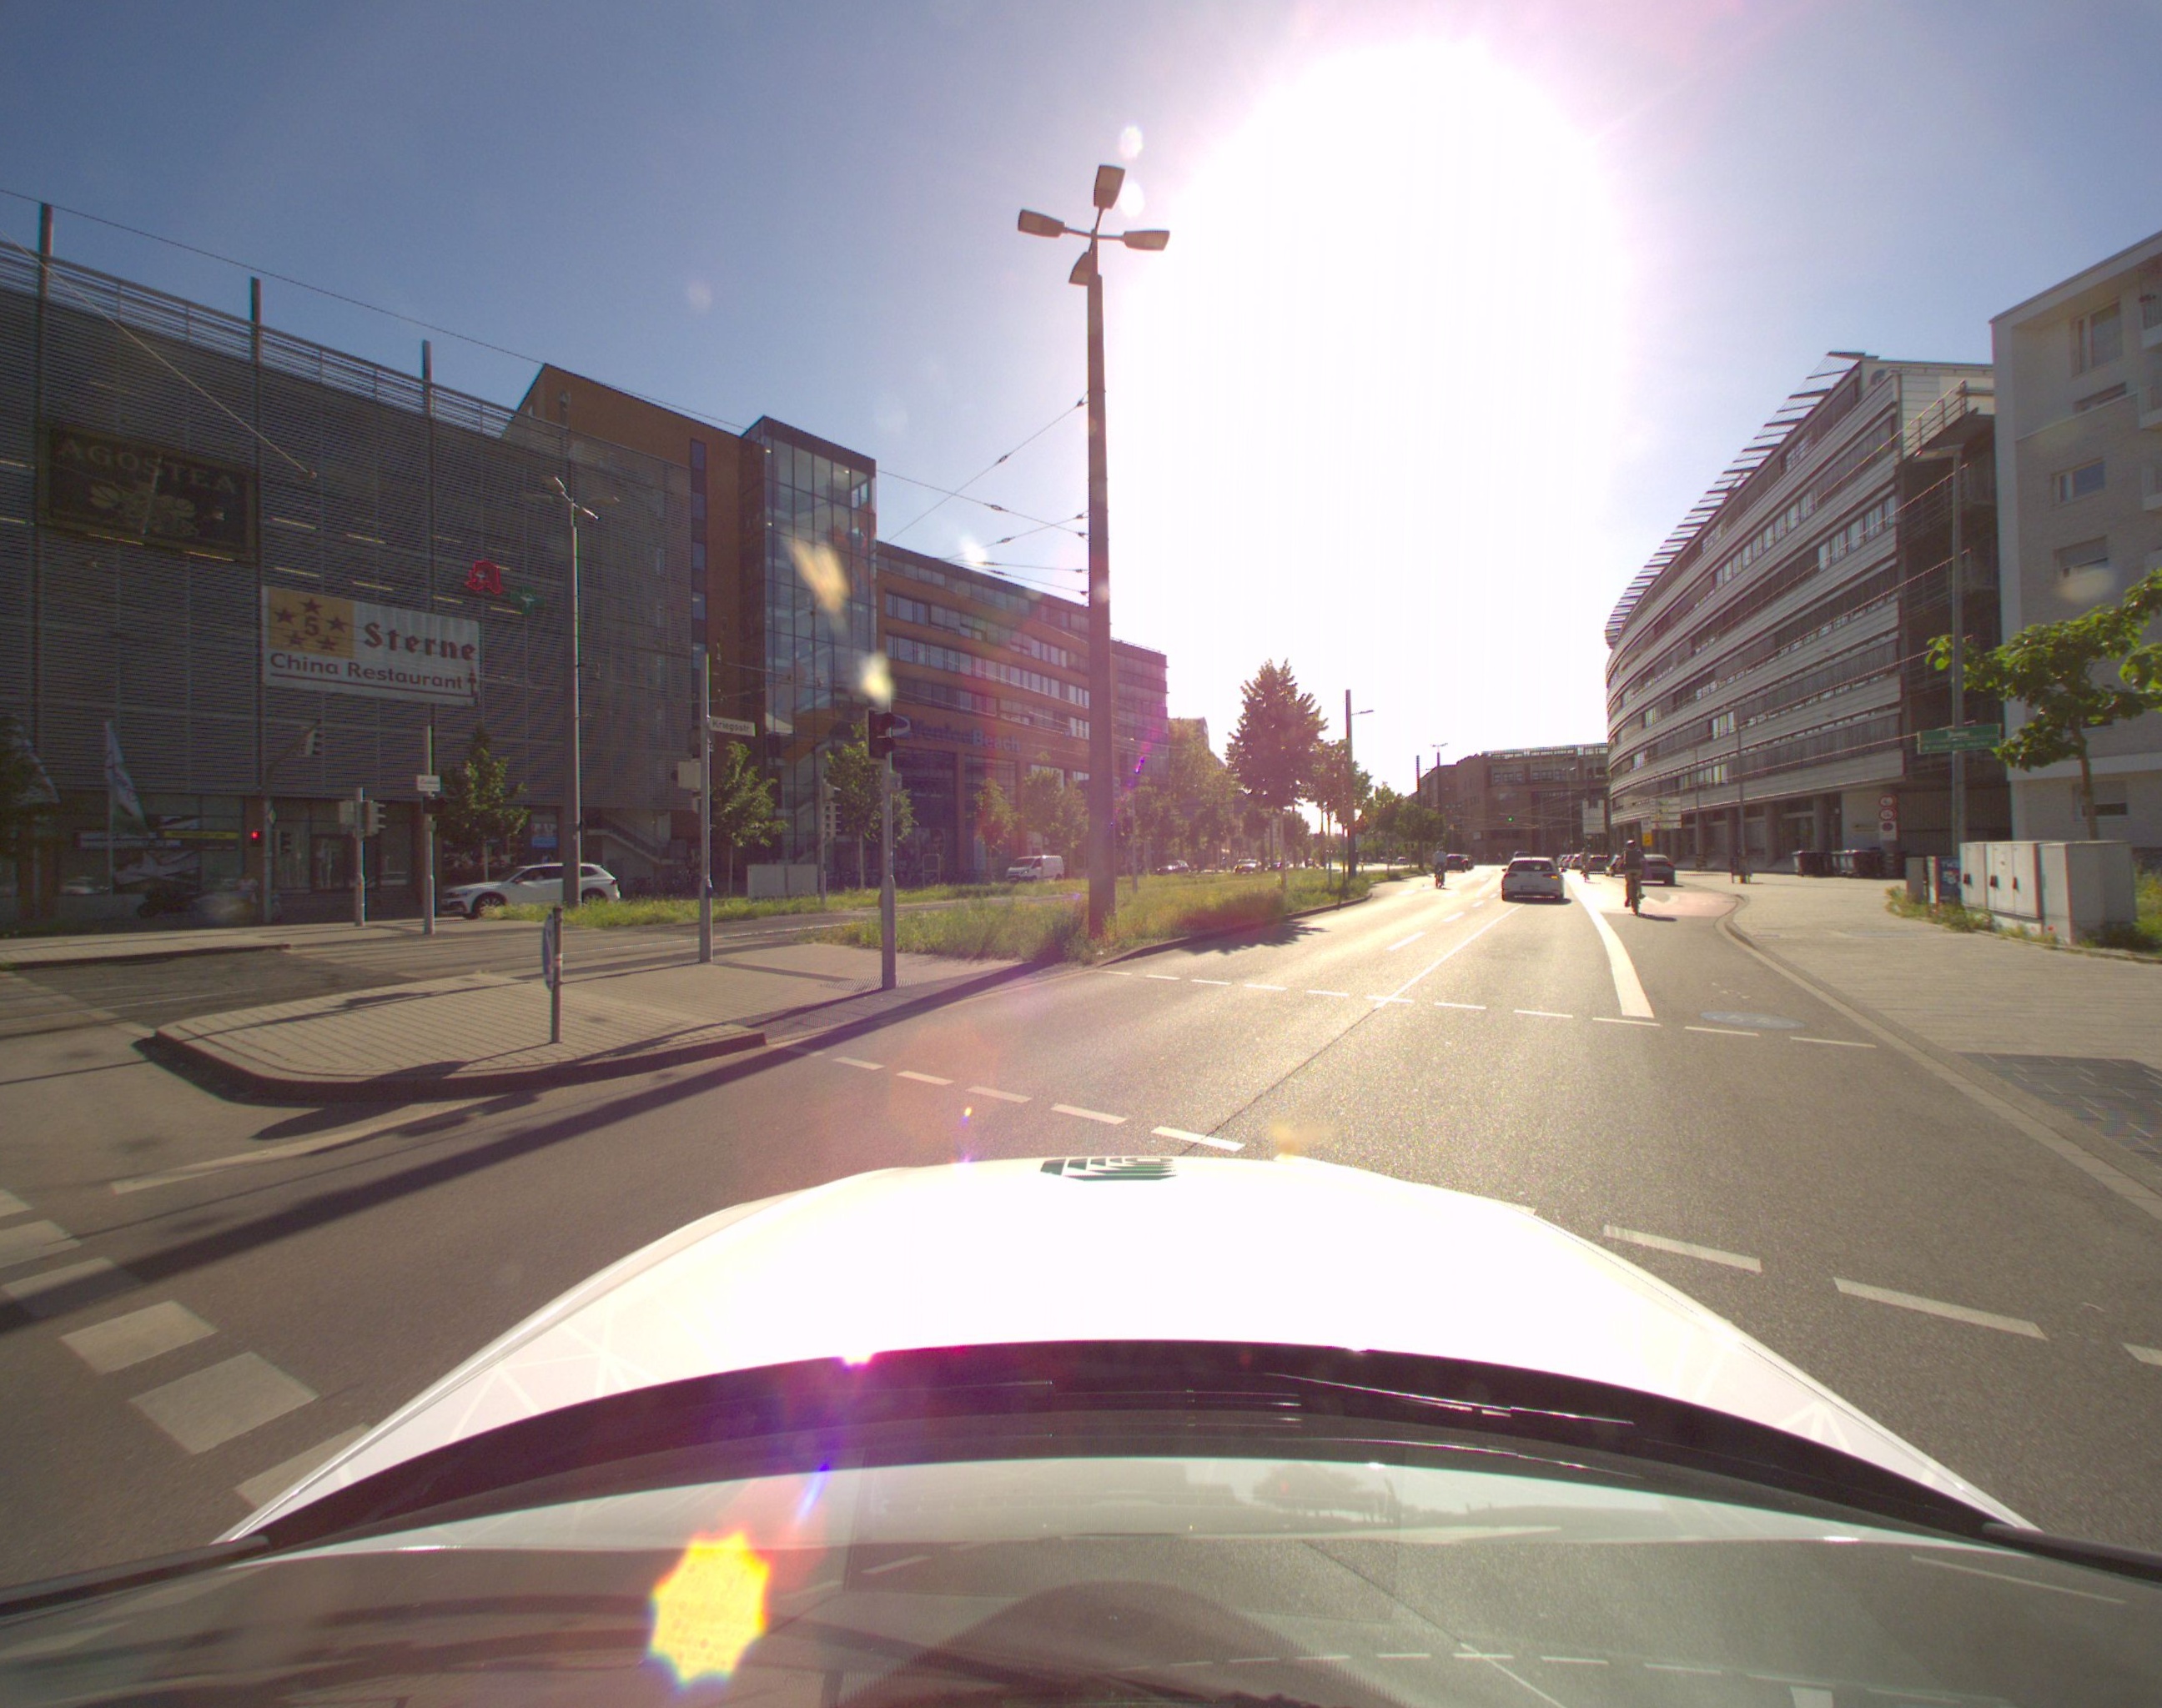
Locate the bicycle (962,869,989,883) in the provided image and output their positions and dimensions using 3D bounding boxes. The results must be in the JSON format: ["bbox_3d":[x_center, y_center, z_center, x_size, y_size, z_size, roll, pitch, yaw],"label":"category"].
[{"bbox_3d":[-8.408,1.735,64.808,2.152,1.123,0.758,0,0,36],"label":"bicycle"}]

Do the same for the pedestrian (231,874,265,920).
[{"bbox_3d":[-27.927,1.431,27.305,0.745,1.487,0.484,0,-1,-39],"label":"pedestrian"}]

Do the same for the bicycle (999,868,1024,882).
[{"bbox_3d":[-5.823,1.726,67.935,2.152,1.123,0.758,0,0,36],"label":"bicycle"}]

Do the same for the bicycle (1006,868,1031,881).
[{"bbox_3d":[-5.267,1.726,68.802,2.152,1.123,0.758,0,0,36],"label":"bicycle"}]

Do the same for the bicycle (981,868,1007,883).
[{"bbox_3d":[-7.105,1.729,66.102,2.152,1.123,0.758,0,0,36],"label":"bicycle"}]

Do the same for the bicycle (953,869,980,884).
[{"bbox_3d":[-9.021,1.734,64.109,2.152,1.123,0.758,0,0,36],"label":"bicycle"}]

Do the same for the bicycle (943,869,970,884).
[{"bbox_3d":[-9.688,1.729,63.301,2.152,1.123,0.758,0,0,36],"label":"bicycle"}]

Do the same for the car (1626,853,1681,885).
[{"bbox_3d":[29.112,0.729,41.532,1.705,1.524,4.425,-1,-1,27],"label":"car"}]

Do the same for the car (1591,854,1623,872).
[{"bbox_3d":[42.498,0.678,65.868,1.705,1.396,4.816,-1,-1,28],"label":"car"}]

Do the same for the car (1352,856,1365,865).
[{"bbox_3d":[58.066,1.385,170.486,2.247,1.727,3.957,-1,-1,12],"label":"car"}]

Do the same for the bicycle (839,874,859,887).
[{"bbox_3d":[-14.891,1.710,52.184,1.432,0.819,0.448,0,0,36],"label":"bicycle"}]

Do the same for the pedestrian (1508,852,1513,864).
[{"bbox_3d":[60.801,0.616,115.259,0.475,1.656,0.493,-1,-1,10],"label":"pedestrian"}]

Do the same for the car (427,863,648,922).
[{"bbox_3d":[-17.113,1.141,25.982,1.790,1.652,5.581,-2,-1,39],"label":"car"}]

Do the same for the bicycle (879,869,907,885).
[{"bbox_3d":[-13.600,1.659,58.986,2.152,1.123,0.758,0,0,36],"label":"bicycle"}]

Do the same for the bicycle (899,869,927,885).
[{"bbox_3d":[-12.509,1.698,60.571,2.152,1.123,0.758,0,0,36],"label":"bicycle"}]

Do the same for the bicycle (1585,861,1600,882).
[{"bbox_3d":[27.849,0.934,44.343,0.643,1.110,1.769,-2,-1,32],"label":"bicycle"}]

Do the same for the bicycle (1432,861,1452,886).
[{"bbox_3d":[16.527,0.890,37.250,0.680,1.069,2.713,0,0,28],"label":"bicycle"}]

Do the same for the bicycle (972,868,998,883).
[{"bbox_3d":[-7.716,1.709,65.446,2.152,1.123,0.758,0,0,36],"label":"bicycle"}]

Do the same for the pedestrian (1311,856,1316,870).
[{"bbox_3d":[30.349,1.199,106.248,0.384,1.831,0.463,-1,-1,-4],"label":"pedestrian"}]

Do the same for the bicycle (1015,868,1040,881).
[{"bbox_3d":[-4.551,1.732,69.452,2.152,1.123,0.758,0,0,36],"label":"bicycle"}]

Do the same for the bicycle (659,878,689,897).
[{"bbox_3d":[-21.678,1.777,43.404,2.152,0.954,0.496,0,0,36],"label":"bicycle"}]

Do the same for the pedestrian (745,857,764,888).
[{"bbox_3d":[-18.255,1.042,45.502,0.590,1.685,0.783,-1,-1,28],"label":"pedestrian"}]

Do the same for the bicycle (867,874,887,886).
[{"bbox_3d":[-13.569,1.722,54.107,1.432,0.819,0.448,0,0,36],"label":"bicycle"}]

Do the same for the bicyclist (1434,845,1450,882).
[{"bbox_3d":[16.553,0.444,37.322,0.612,1.669,1.026,0,0,27],"label":"bicyclist"}]

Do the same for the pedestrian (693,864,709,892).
[{"bbox_3d":[-21.561,1.365,46.168,0.665,1.553,0.630,0,-1,-42],"label":"pedestrian"}]

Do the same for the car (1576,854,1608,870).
[{"bbox_3d":[50.870,0.783,81.193,1.890,1.583,4.159,1,0,20],"label":"car"}]

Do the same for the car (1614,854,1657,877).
[{"bbox_3d":[36.510,0.730,53.738,1.706,1.422,4.664,0,0,26],"label":"car"}]

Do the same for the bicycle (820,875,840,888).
[{"bbox_3d":[-15.769,1.715,51.115,1.432,0.819,0.448,0,0,36],"label":"bicycle"}]

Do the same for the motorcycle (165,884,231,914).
[{"bbox_3d":[-32.489,1.644,29.974,0.396,1.038,1.629,-2,-1,42],"label":"motorcycle"}]

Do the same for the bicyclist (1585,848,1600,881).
[{"bbox_3d":[27.901,0.559,44.398,0.643,1.752,1.052,-2,0,32],"label":"bicyclist"}]

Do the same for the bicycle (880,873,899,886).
[{"bbox_3d":[-12.909,1.726,54.912,1.432,0.819,0.448,0,0,36],"label":"bicycle"}]

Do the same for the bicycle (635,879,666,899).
[{"bbox_3d":[-22.365,1.798,42.298,2.152,0.954,0.496,0,0,36],"label":"bicycle"}]

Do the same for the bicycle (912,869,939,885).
[{"bbox_3d":[-11.727,1.721,61.278,2.152,1.123,0.758,0,0,36],"label":"bicycle"}]

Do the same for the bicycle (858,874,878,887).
[{"bbox_3d":[-13.967,1.730,53.315,1.432,0.819,0.448,0,0,36],"label":"bicycle"}]

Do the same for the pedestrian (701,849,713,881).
[{"bbox_3d":[-22.796,0.672,49.641,0.544,1.915,0.369,2,-3,-40],"label":"pedestrian"}]

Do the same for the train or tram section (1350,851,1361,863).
[{"bbox_3d":[69.153,0.772,205.052,2.308,3.003,13.219,-1,-1,18],"label":"train or tram section"}]

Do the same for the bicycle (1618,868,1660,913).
[{"bbox_3d":[14.193,0.903,20.753,0.817,1.037,1.903,0,0,33],"label":"bicycle"}]

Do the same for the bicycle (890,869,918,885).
[{"bbox_3d":[-13.018,1.684,59.896,2.152,1.123,0.758,0,0,36],"label":"bicycle"}]

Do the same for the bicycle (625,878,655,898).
[{"bbox_3d":[-22.663,1.729,41.823,2.152,0.954,0.496,0,0,36],"label":"bicycle"}]

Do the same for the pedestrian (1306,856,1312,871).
[{"bbox_3d":[29.186,1.236,104.380,0.581,1.831,0.496,-1,-1,-11],"label":"pedestrian"}]

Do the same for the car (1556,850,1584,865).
[{"bbox_3d":[52.112,0.368,86.783,1.890,1.541,4.160,1,0,22],"label":"car"}]

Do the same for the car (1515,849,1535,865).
[{"bbox_3d":[48.033,0.292,88.188,1.765,1.703,4.163,1,0,27],"label":"car"}]

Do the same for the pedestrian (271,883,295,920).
[{"bbox_3d":[-26.866,1.601,27.408,0.449,1.229,0.394,0,-1,-23],"label":"pedestrian"}]

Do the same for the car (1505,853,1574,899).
[{"bbox_3d":[15.449,0.681,27.336,1.756,1.403,4.320,1,0,32],"label":"car"}]

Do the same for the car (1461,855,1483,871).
[{"bbox_3d":[37.493,0.841,77.969,1.710,1.449,4.548,-1,-1,27],"label":"car"}]

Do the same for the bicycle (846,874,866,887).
[{"bbox_3d":[-14.608,1.727,52.950,1.432,0.819,0.448,0,0,36],"label":"bicycle"}]

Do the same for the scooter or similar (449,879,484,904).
[{"bbox_3d":[-27.865,1.698,36.950,0.273,1.103,1.213,-2,-3,44],"label":"scooter or similar"}]

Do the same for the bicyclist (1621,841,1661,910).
[{"bbox_3d":[14.168,0.523,20.636,0.799,1.693,1.058,0,0,33],"label":"bicyclist"}]

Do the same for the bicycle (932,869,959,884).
[{"bbox_3d":[-10.375,1.731,62.549,2.152,1.123,0.758,0,0,36],"label":"bicycle"}]

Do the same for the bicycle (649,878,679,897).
[{"bbox_3d":[-21.994,1.746,42.912,2.152,0.954,0.496,0,0,36],"label":"bicycle"}]

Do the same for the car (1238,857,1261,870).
[{"bbox_3d":[18.433,1.045,88.932,1.978,1.334,4.811,-1,-1,17],"label":"car"}]

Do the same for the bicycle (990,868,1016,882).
[{"bbox_3d":[-6.394,1.725,66.655,2.152,1.123,0.758,0,0,36],"label":"bicycle"}]

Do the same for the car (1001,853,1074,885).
[{"bbox_3d":[-2.844,0.994,54.530,2.199,2.014,5.289,-1,-1,33],"label":"car"}]

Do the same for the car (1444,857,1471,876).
[{"bbox_3d":[32.404,1.035,70.033,1.710,1.564,3.700,-2,-1,30],"label":"car"}]

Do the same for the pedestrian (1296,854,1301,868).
[{"bbox_3d":[27.592,0.874,103.443,0.460,1.831,0.457,-1,-1,-11],"label":"pedestrian"}]

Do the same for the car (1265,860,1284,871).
[{"bbox_3d":[24.360,1.466,102.562,1.414,1.359,3.316,-1,-1,29],"label":"car"}]

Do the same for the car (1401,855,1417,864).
[{"bbox_3d":[65.452,1.144,162.689,2.247,1.727,3.957,-1,-1,12],"label":"car"}]

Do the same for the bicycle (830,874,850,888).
[{"bbox_3d":[-15.283,1.697,51.726,1.432,0.819,0.448,0,0,36],"label":"bicycle"}]

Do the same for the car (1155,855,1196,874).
[{"bbox_3d":[8.768,0.953,75.523,1.974,1.681,4.567,-1,-1,32],"label":"car"}]

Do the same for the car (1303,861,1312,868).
[{"bbox_3d":[46.054,2.124,165.534,1.597,1.398,3.935,-5,-1,15],"label":"car"}]
